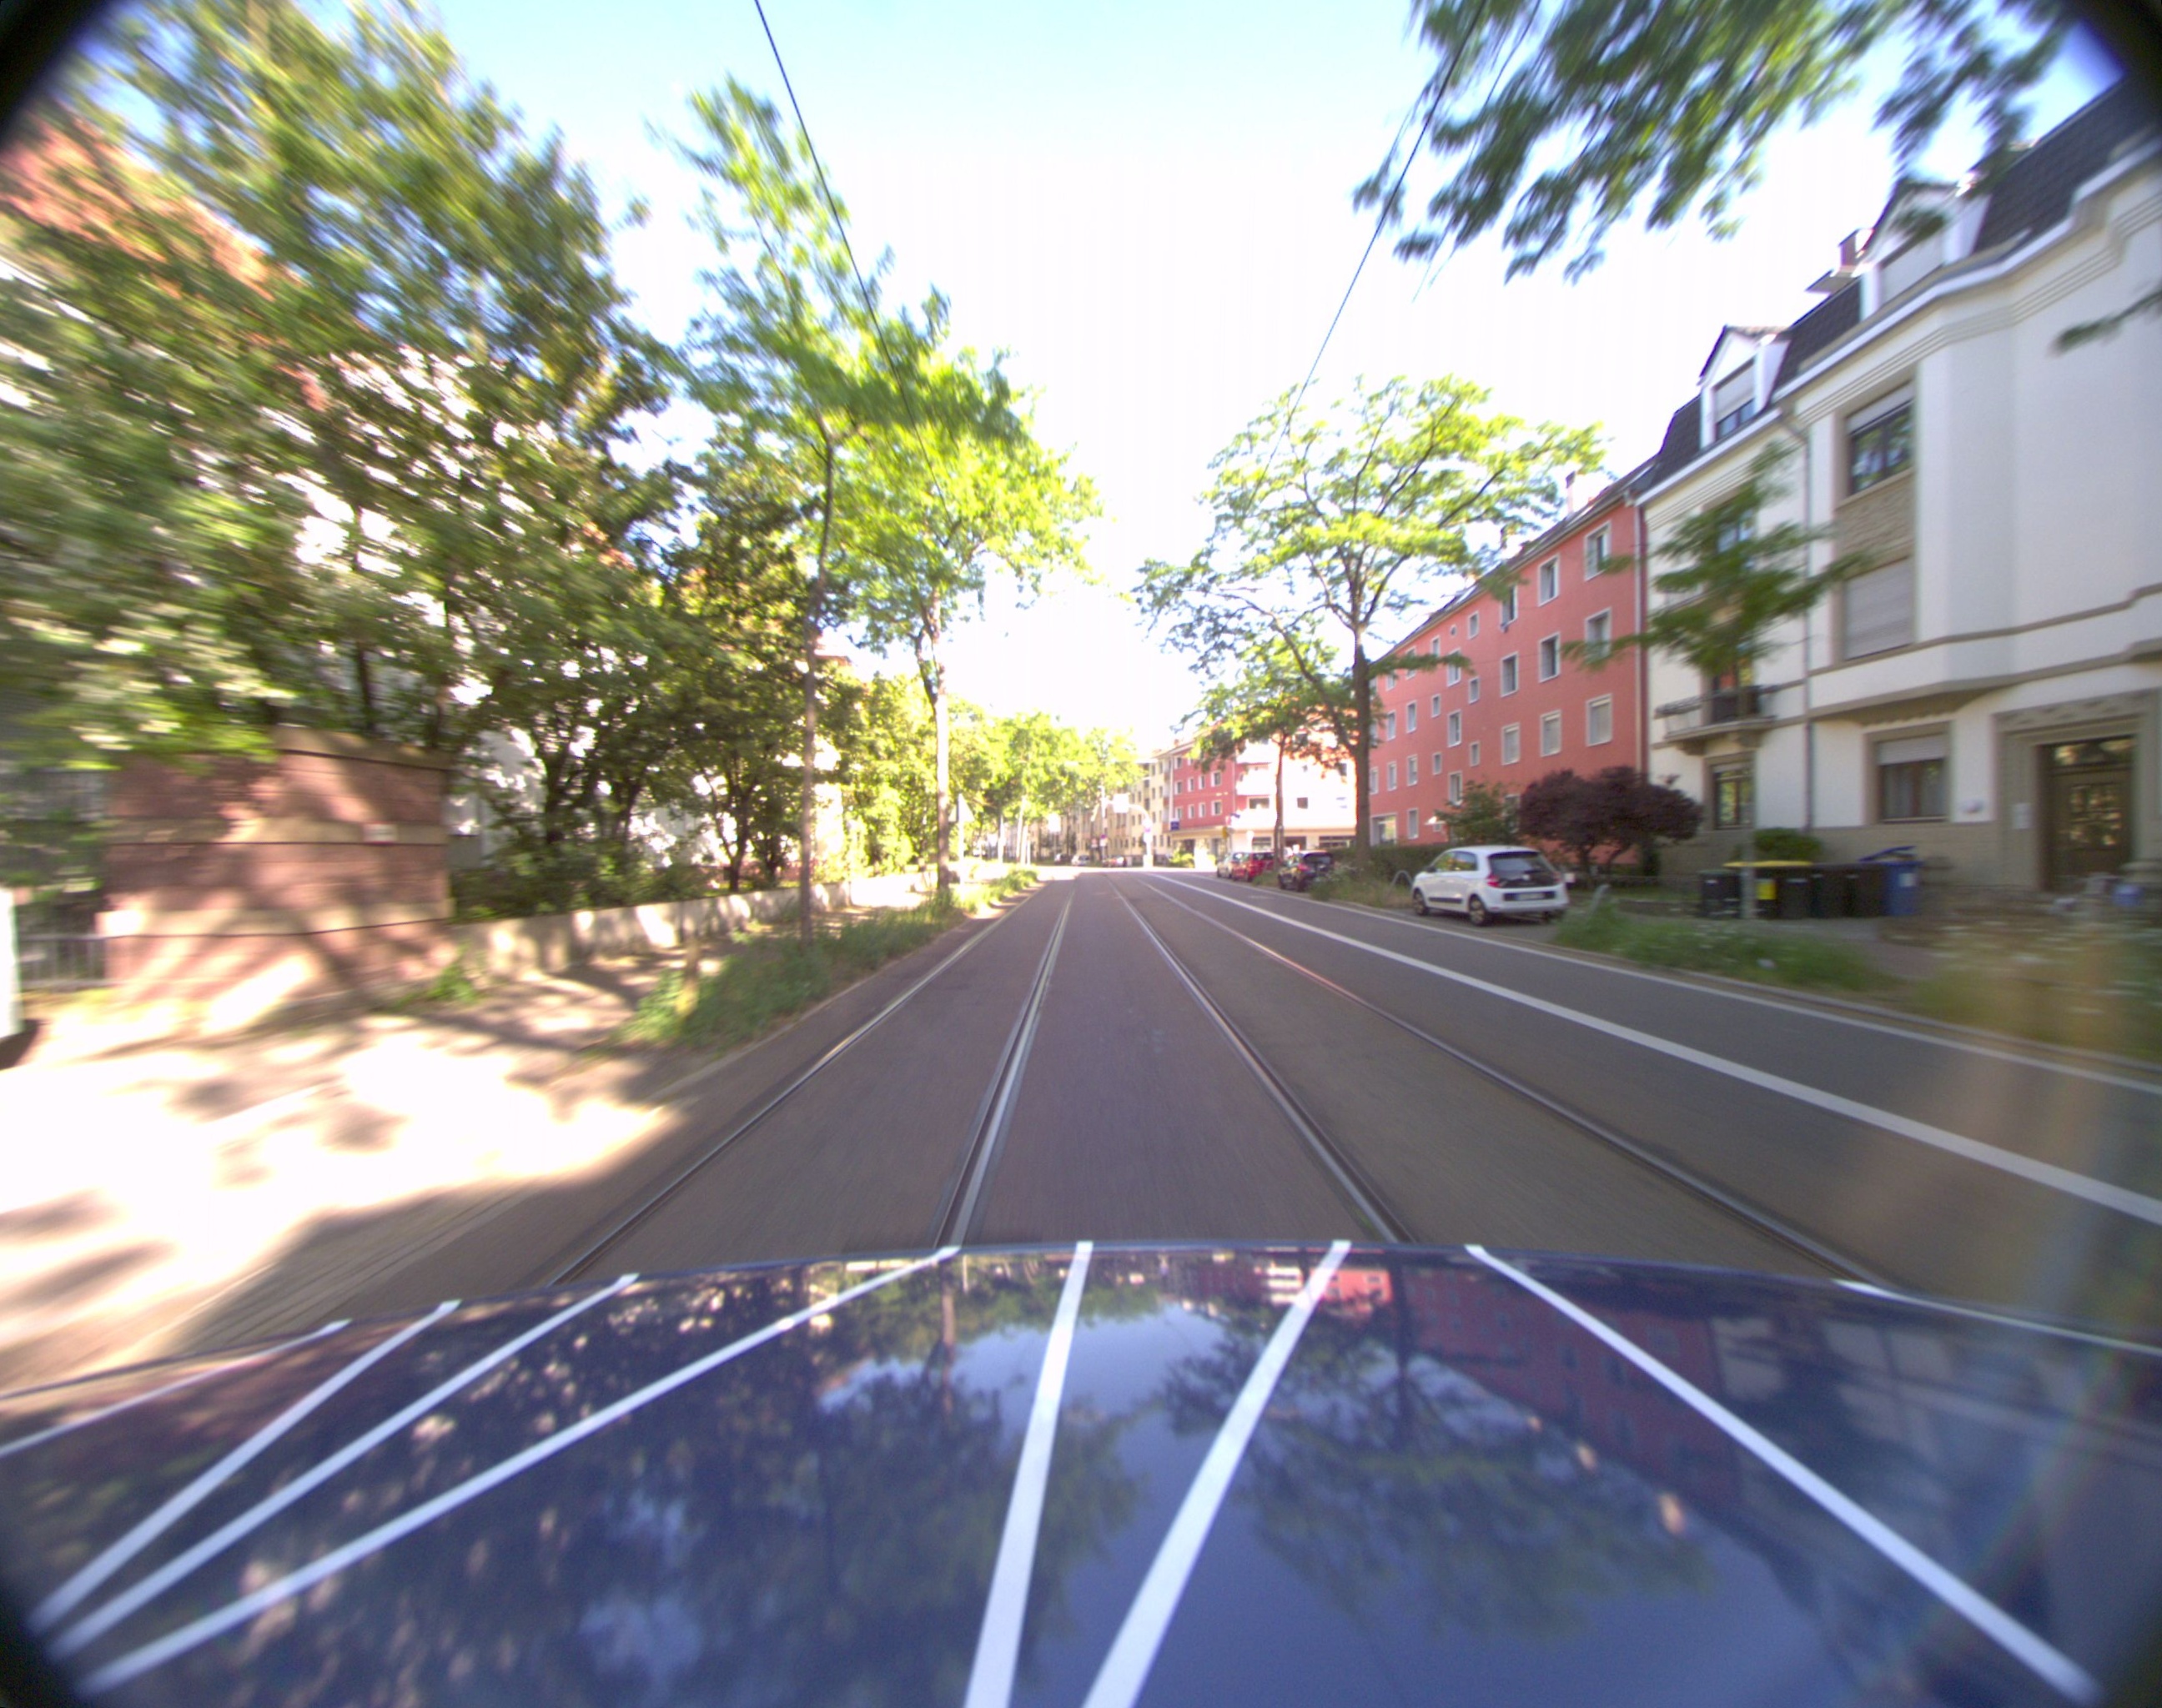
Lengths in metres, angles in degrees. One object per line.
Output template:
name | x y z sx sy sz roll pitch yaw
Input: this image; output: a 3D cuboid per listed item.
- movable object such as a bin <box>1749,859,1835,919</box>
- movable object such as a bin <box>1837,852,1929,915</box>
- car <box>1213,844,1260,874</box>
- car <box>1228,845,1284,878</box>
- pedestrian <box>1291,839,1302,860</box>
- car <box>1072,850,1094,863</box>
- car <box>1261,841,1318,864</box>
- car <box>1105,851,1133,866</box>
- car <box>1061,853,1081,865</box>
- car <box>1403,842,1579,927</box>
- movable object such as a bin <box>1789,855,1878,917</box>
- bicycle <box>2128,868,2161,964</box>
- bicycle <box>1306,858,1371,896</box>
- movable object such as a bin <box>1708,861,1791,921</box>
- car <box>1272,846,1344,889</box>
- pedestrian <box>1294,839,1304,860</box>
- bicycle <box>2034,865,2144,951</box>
movable object such as a bin | 13.019 0.625 13.947 0.739 1.048 0.895 -1 1 0
movable object such as a bin | 14.708 0.520 13.955 0.739 1.107 0.895 -1 1 0
car | 8.495 0.241 41.831 1.577 1.497 4.095 -2 1 -1
car | 8.386 0.319 36.681 1.577 1.446 4.095 -2 1 -2
pedestrian | 18.376 -0.379 64.816 0.803 1.755 0.509 0 1 20
car | 0.212 0.332 90.717 1.880 1.390 3.996 -4 1 -10
car | 16.476 -0.156 59.959 4.280 1.769 1.791 0 1 17
car | 3.844 0.444 77.842 1.880 1.390 3.996 -4 1 -10
car | -1.302 0.681 98.304 1.880 1.390 3.996 -4 1 -10
car | 8.422 0.551 15.987 1.629 1.526 3.689 -2 1 -1
movable object such as a bin | 13.785 0.575 13.944 0.739 1.079 0.895 -1 1 0
bicycle | 12.582 0.684 8.730 1.865 0.991 0.557 -1 1 -33
bicycle | 7.960 0.702 23.552 1.817 1.115 0.543 -1 1 1
movable object such as a bin | 12.263 0.665 13.965 0.739 1.035 0.895 -1 1 0
car | 8.277 0.435 27.992 1.558 1.446 3.667 -2 1 0
pedestrian | 18.798 -0.397 65.622 0.803 1.755 0.509 0 1 20
bicycle | 12.999 0.657 9.789 1.865 0.991 0.557 -1 1 -28
